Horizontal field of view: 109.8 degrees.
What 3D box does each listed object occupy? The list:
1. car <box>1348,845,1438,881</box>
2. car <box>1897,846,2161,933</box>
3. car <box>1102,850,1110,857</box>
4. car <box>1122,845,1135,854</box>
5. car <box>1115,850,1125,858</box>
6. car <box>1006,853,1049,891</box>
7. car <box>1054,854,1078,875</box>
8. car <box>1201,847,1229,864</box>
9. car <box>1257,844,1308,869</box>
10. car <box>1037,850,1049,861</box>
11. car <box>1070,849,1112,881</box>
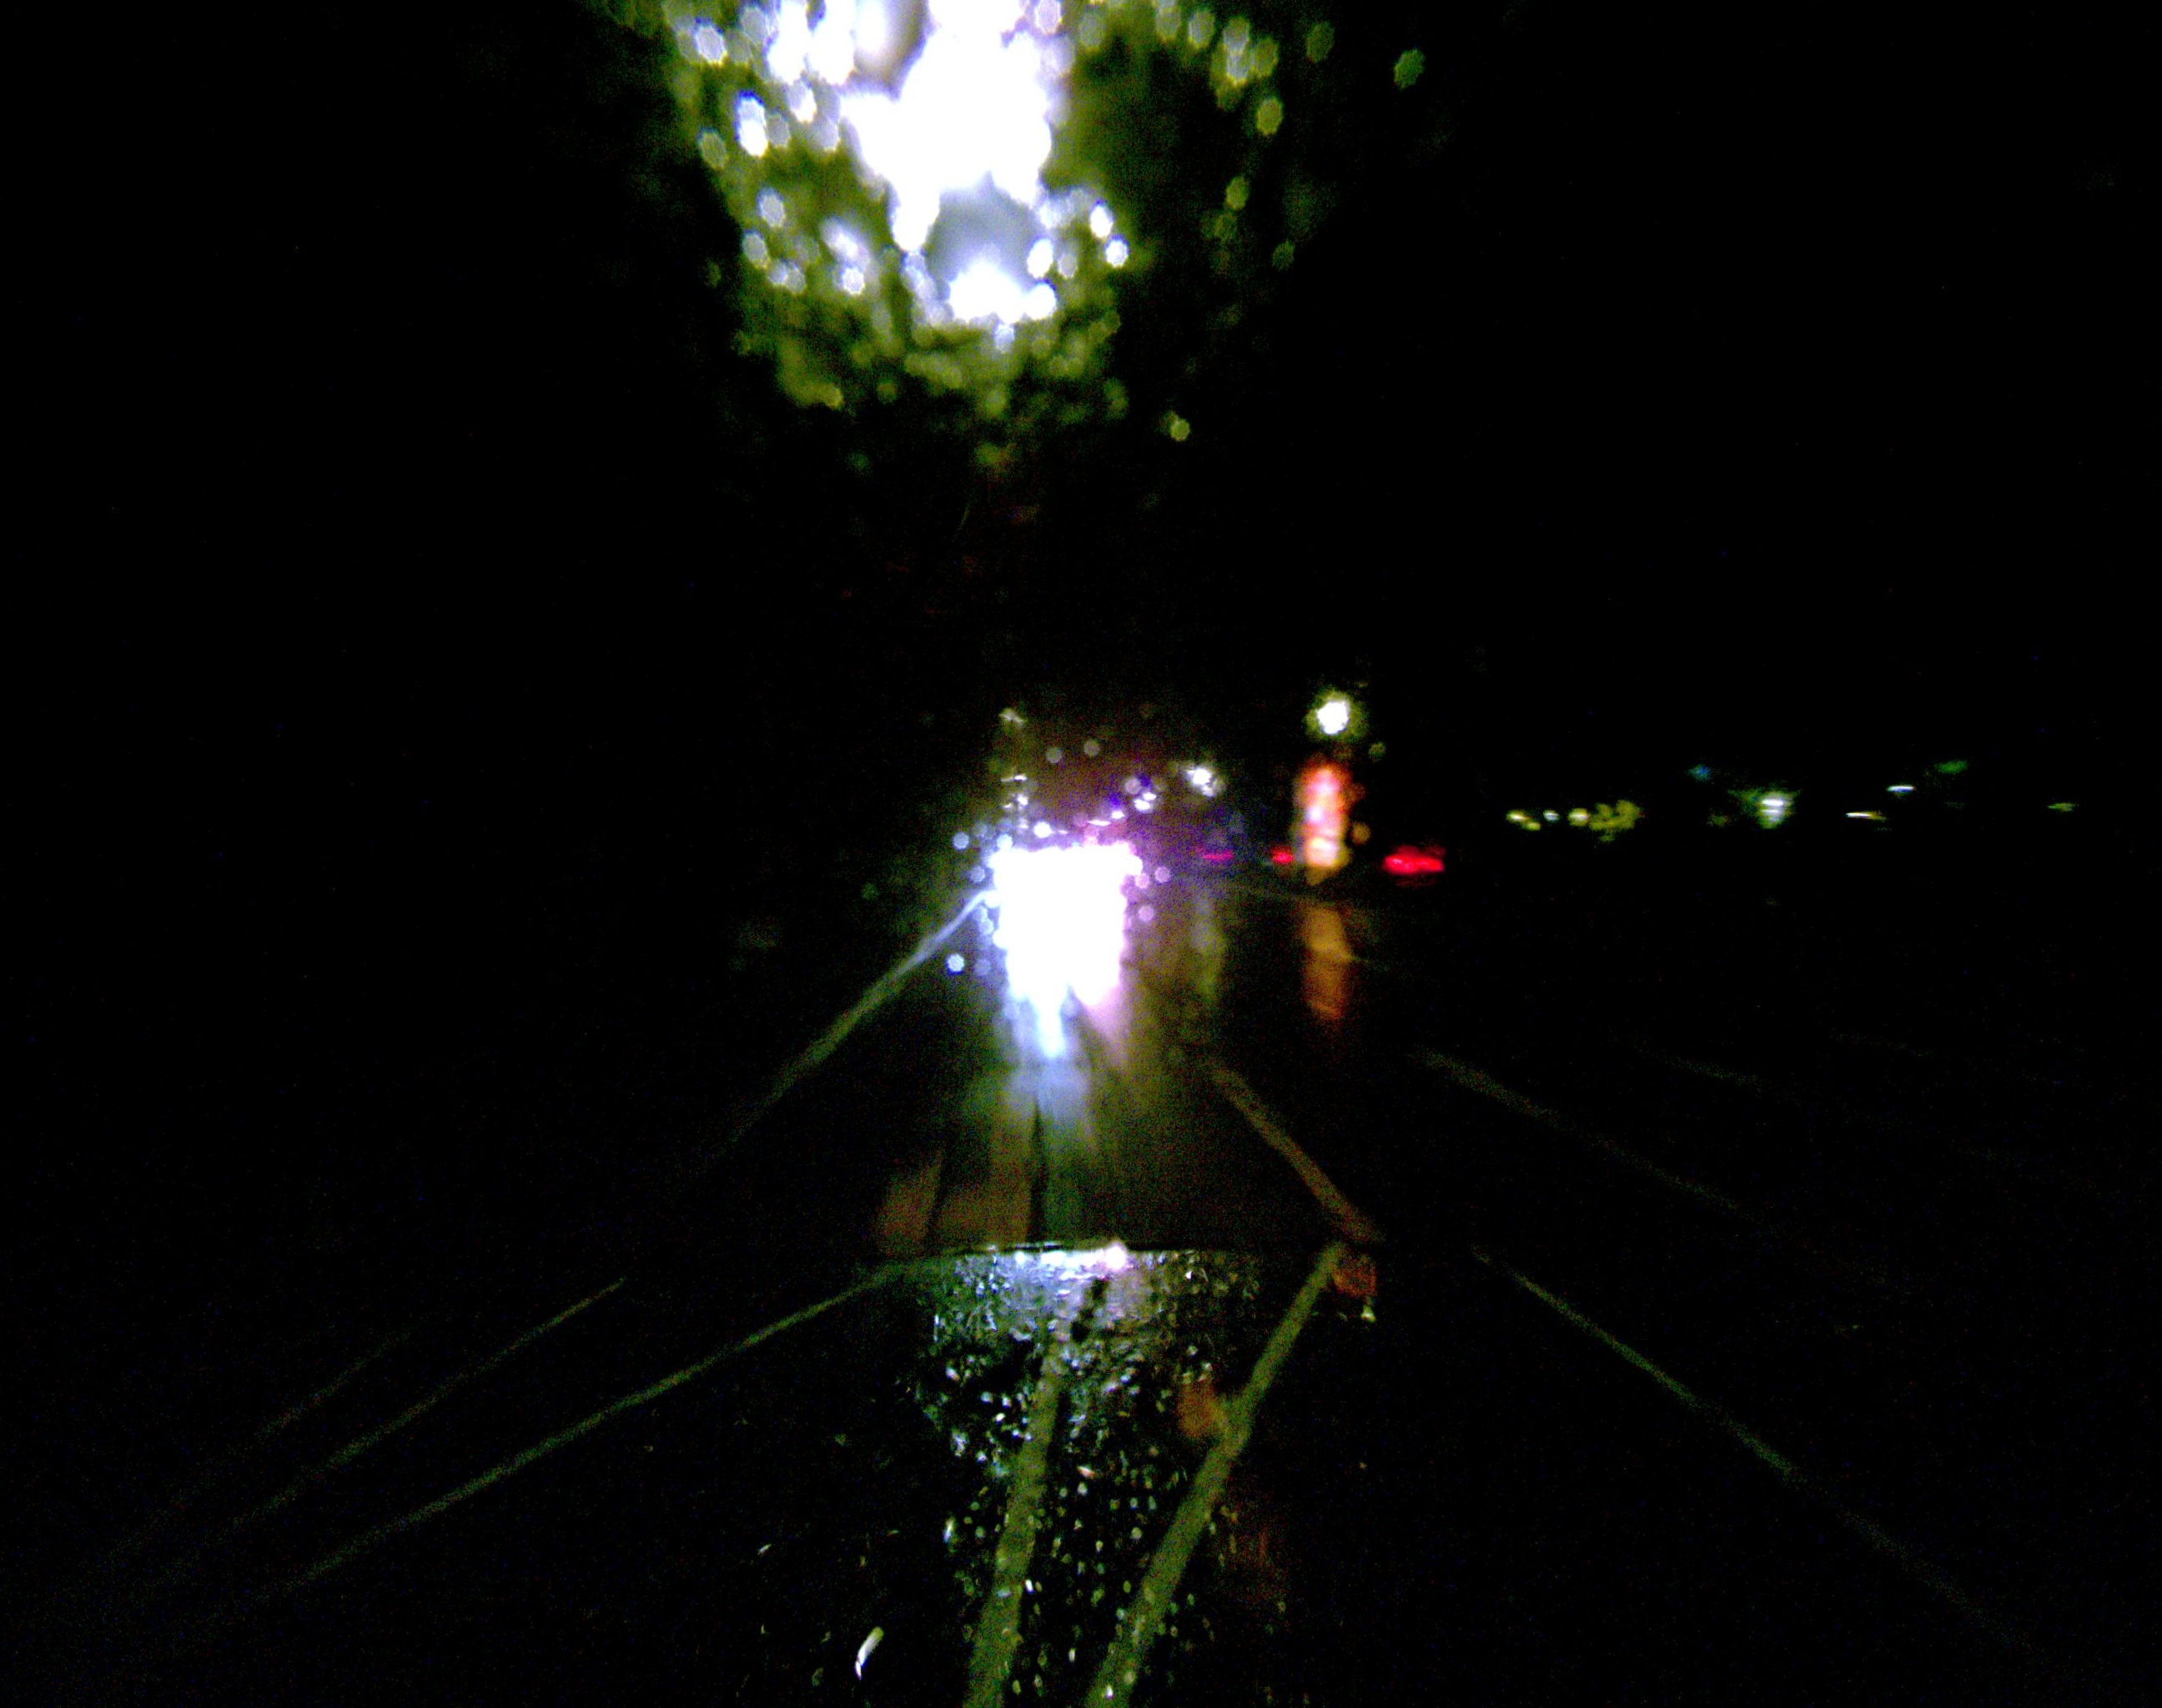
[{"bbox_3d":[14.165,0.371,34.828,1.834,1.456,4.657,-2,0,-6],"label":"car"},{"bbox_3d":[18.925,0.584,13.899,1.999,1.394,5.347,-2,0,-5],"label":"car"},{"bbox_3d":[6.587,-0.170,202.651,1.848,1.583,4.364,-2,0,-2],"label":"car"},{"bbox_3d":[9.296,-0.790,149.102,2.030,1.674,4.546,-2,0,-4],"label":"car"},{"bbox_3d":[9.139,-0.008,178.140,1.848,1.583,4.364,-2,0,-2],"label":"car"},{"bbox_3d":[-2.675,0.835,38.046,1.951,1.709,4.440,-2,0,-4],"label":"car"},{"bbox_3d":[-1.355,0.845,65.189,1.834,1.696,4.192,-2,0,-4],"label":"car"},{"bbox_3d":[14.176,0.163,80.438,1.834,1.703,4.439,-2,0,-4],"label":"car"},{"bbox_3d":[12.925,0.150,48.942,1.834,1.456,3.998,-2,0,-6],"label":"car"},{"bbox_3d":[-5.930,0.205,118.951,1.834,1.696,3.947,-2,0,-4],"label":"car"},{"bbox_3d":[0.457,0.546,40.406,1.834,1.518,4.872,-2,0,-3],"label":"car"}]
